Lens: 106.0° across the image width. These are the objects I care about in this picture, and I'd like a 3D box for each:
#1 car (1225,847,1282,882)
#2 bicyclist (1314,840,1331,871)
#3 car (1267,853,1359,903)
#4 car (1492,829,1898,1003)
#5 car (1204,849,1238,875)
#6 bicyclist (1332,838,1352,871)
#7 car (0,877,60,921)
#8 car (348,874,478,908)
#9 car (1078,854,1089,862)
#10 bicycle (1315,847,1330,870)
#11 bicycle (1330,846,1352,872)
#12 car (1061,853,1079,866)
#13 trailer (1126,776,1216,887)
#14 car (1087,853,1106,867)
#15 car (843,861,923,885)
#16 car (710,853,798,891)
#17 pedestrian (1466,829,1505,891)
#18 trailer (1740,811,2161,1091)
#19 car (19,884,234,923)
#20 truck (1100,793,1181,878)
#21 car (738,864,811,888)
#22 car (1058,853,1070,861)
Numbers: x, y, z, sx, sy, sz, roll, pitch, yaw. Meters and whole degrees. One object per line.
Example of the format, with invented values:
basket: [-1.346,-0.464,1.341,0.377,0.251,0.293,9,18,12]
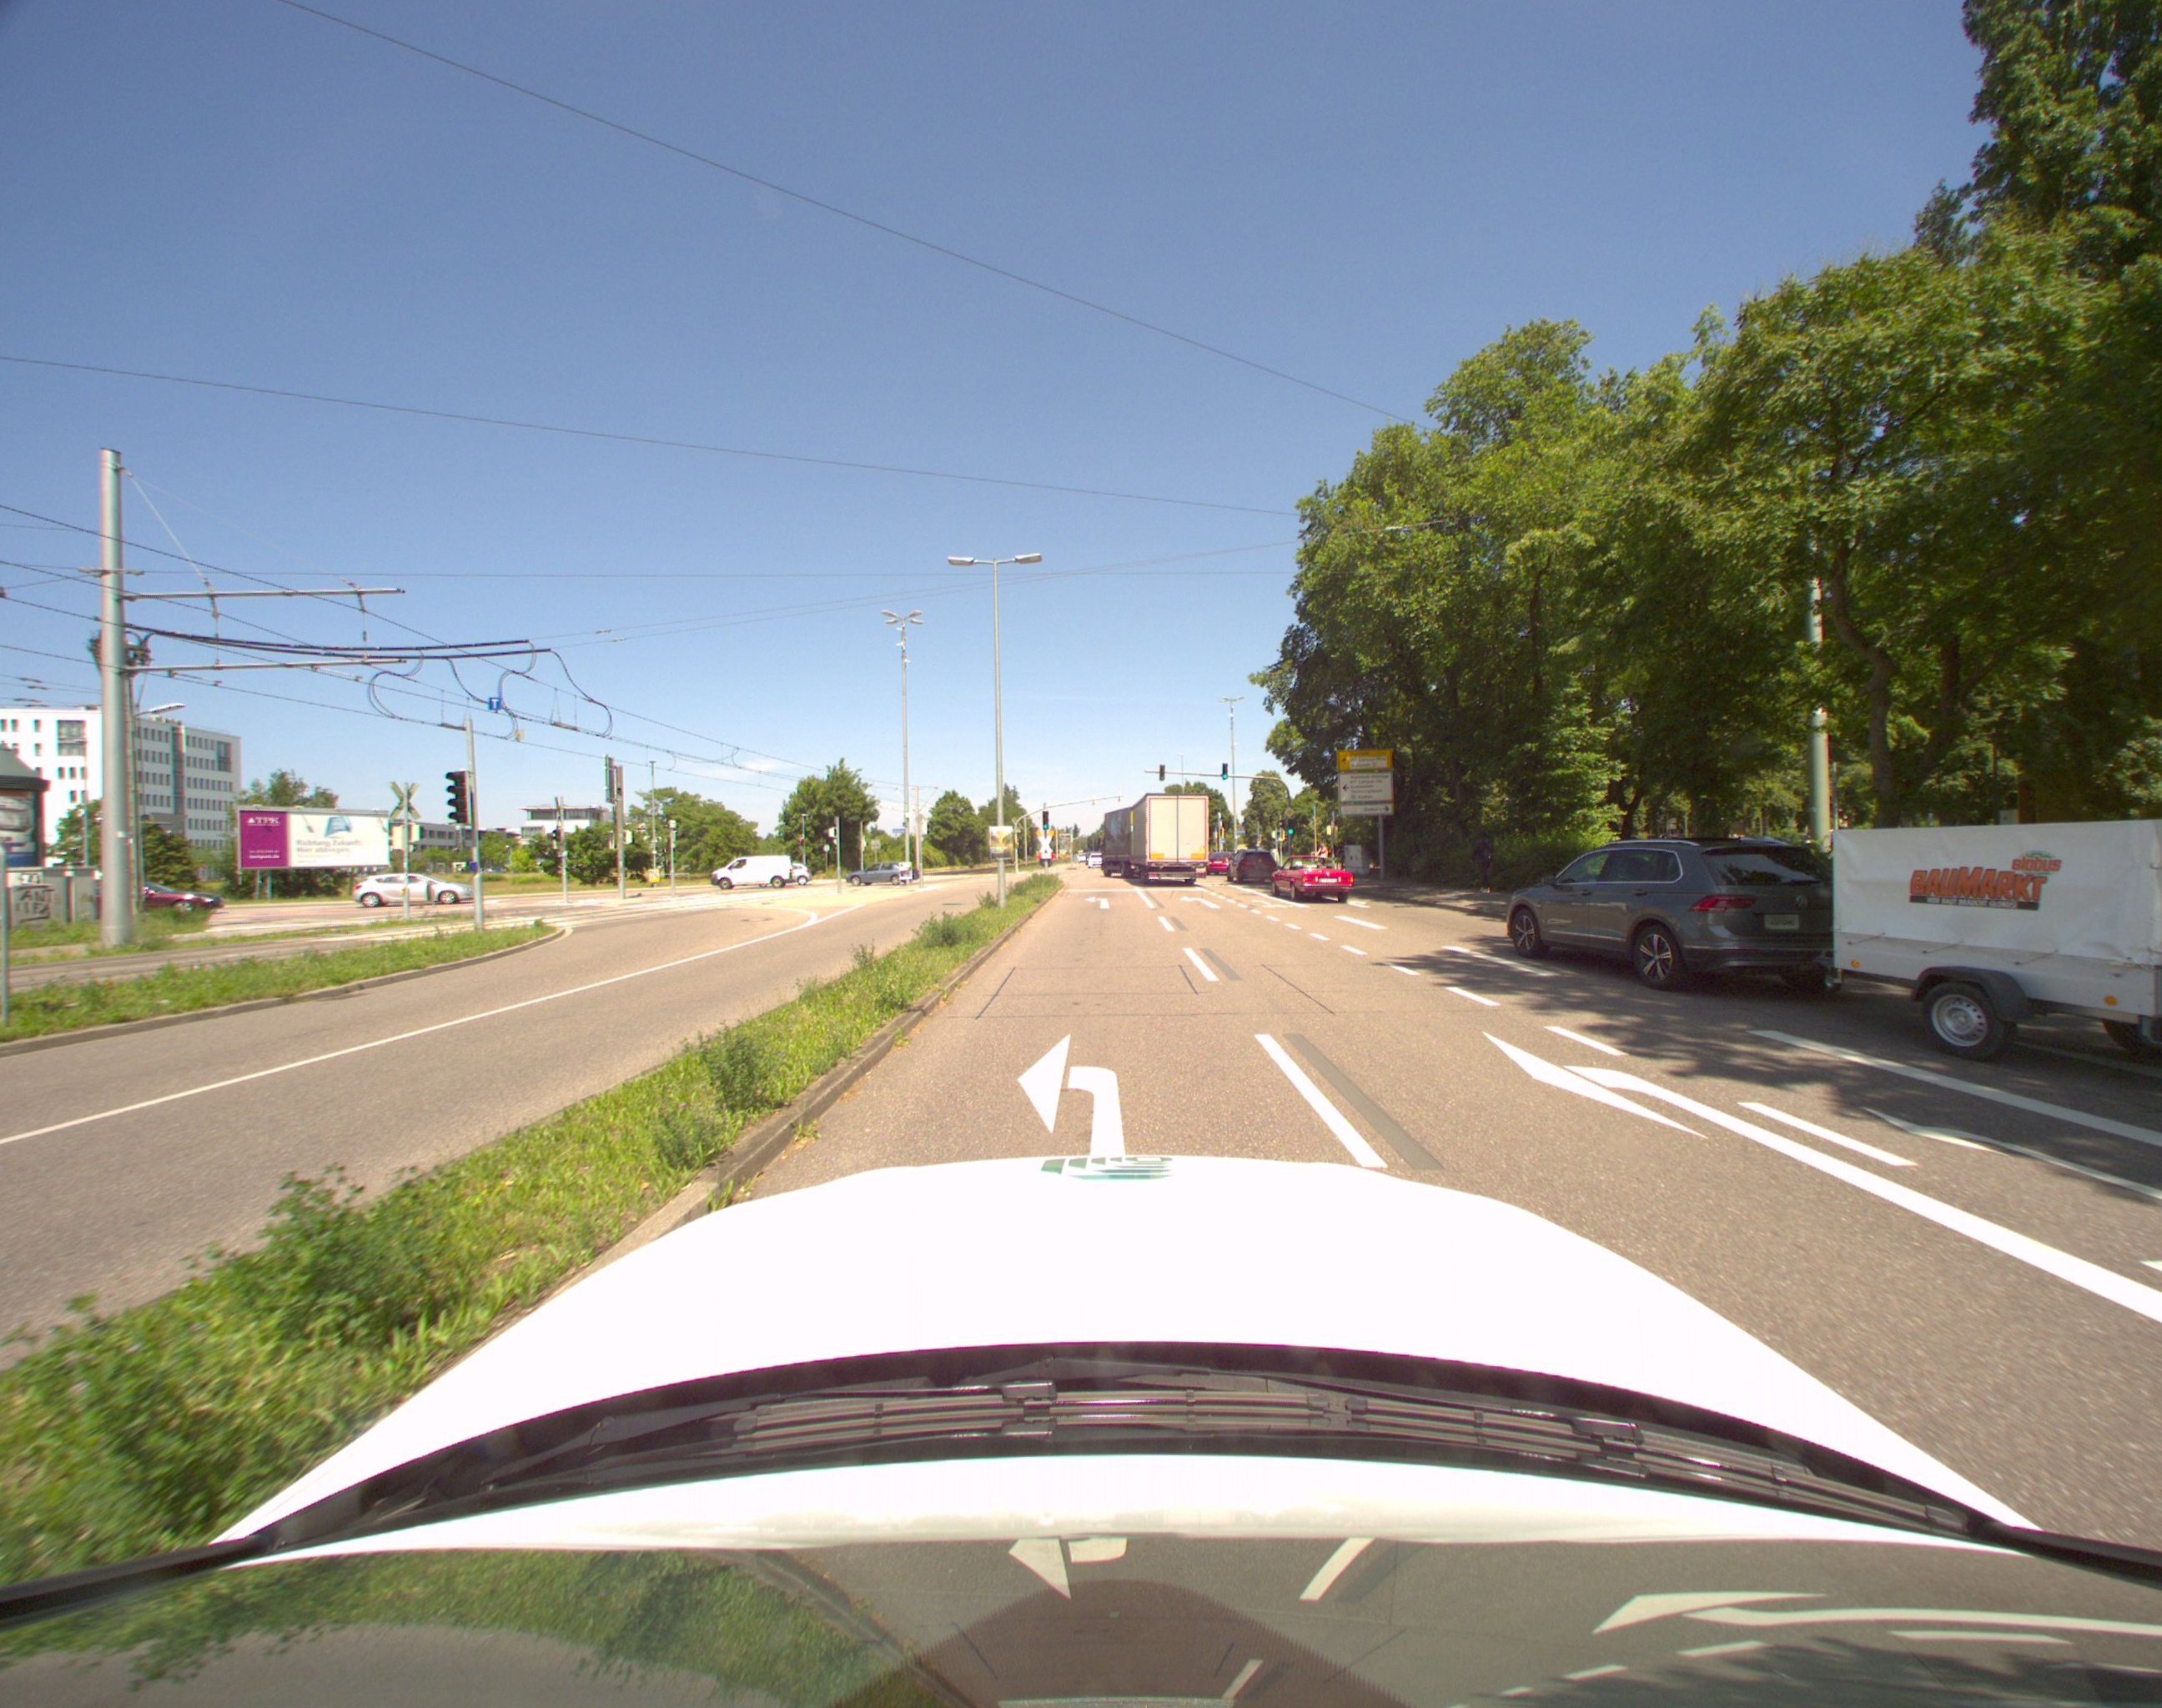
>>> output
car: [7.988,0.454,38.069,1.852,1.549,3.887,0,0,0]
bicyclist: [14.323,0.087,48.354,0.796,1.727,0.681,-4,-1,12]
car: [7.009,0.661,25.067,1.649,1.396,4.267,0,0,0]
car: [6.955,0.576,9.952,1.694,1.654,4.398,0,0,0]
car: [8.728,0.460,51.112,1.982,1.503,4.513,-1,1,8]
bicyclist: [13.944,0.004,43.506,0.717,1.703,0.683,-4,-1,34]
car: [-45.100,1.879,32.778,4.553,1.638,1.981,-2,1,-30]
car: [-30.495,1.652,37.373,4.294,1.293,1.981,-2,1,-30]
car: [0.419,0.643,135.009,1.852,1.372,4.156,0,0,0]
bicycle: [14.304,0.273,48.298,0.640,1.304,1.631,-4,-1,12]
bicycle: [13.866,0.245,43.387,0.717,1.295,1.313,-4,-1,34]
car: [-1.178,0.586,90.402,1.852,1.372,4.156,0,0,0]
trailer: [3.857,-0.928,37.011,2.820,4.421,8.742,0,0,-2]
car: [1.558,0.598,81.147,1.852,1.372,4.156,0,0,0]
car: [-12.145,1.147,50.061,4.385,1.371,1.906,-1,1,13]
car: [-19.996,1.071,50.016,4.740,2.111,1.990,-1,1,-15]
pedestrian: [12.069,0.171,24.312,0.750,1.816,0.693,-2,0,0]
trailer: [6.973,0.571,6.304,1.464,1.669,2.856,0,0,0]
car: [-37.580,1.906,32.324,5.266,1.132,1.876,-2,1,-40]
truck: [3.164,-0.967,45.595,2.825,4.344,8.261,0,0,-8]
car: [-20.302,1.418,54.039,4.430,1.371,1.886,-1,1,-20]
car: [-2.932,0.493,140.497,1.852,1.372,4.156,0,0,0]
